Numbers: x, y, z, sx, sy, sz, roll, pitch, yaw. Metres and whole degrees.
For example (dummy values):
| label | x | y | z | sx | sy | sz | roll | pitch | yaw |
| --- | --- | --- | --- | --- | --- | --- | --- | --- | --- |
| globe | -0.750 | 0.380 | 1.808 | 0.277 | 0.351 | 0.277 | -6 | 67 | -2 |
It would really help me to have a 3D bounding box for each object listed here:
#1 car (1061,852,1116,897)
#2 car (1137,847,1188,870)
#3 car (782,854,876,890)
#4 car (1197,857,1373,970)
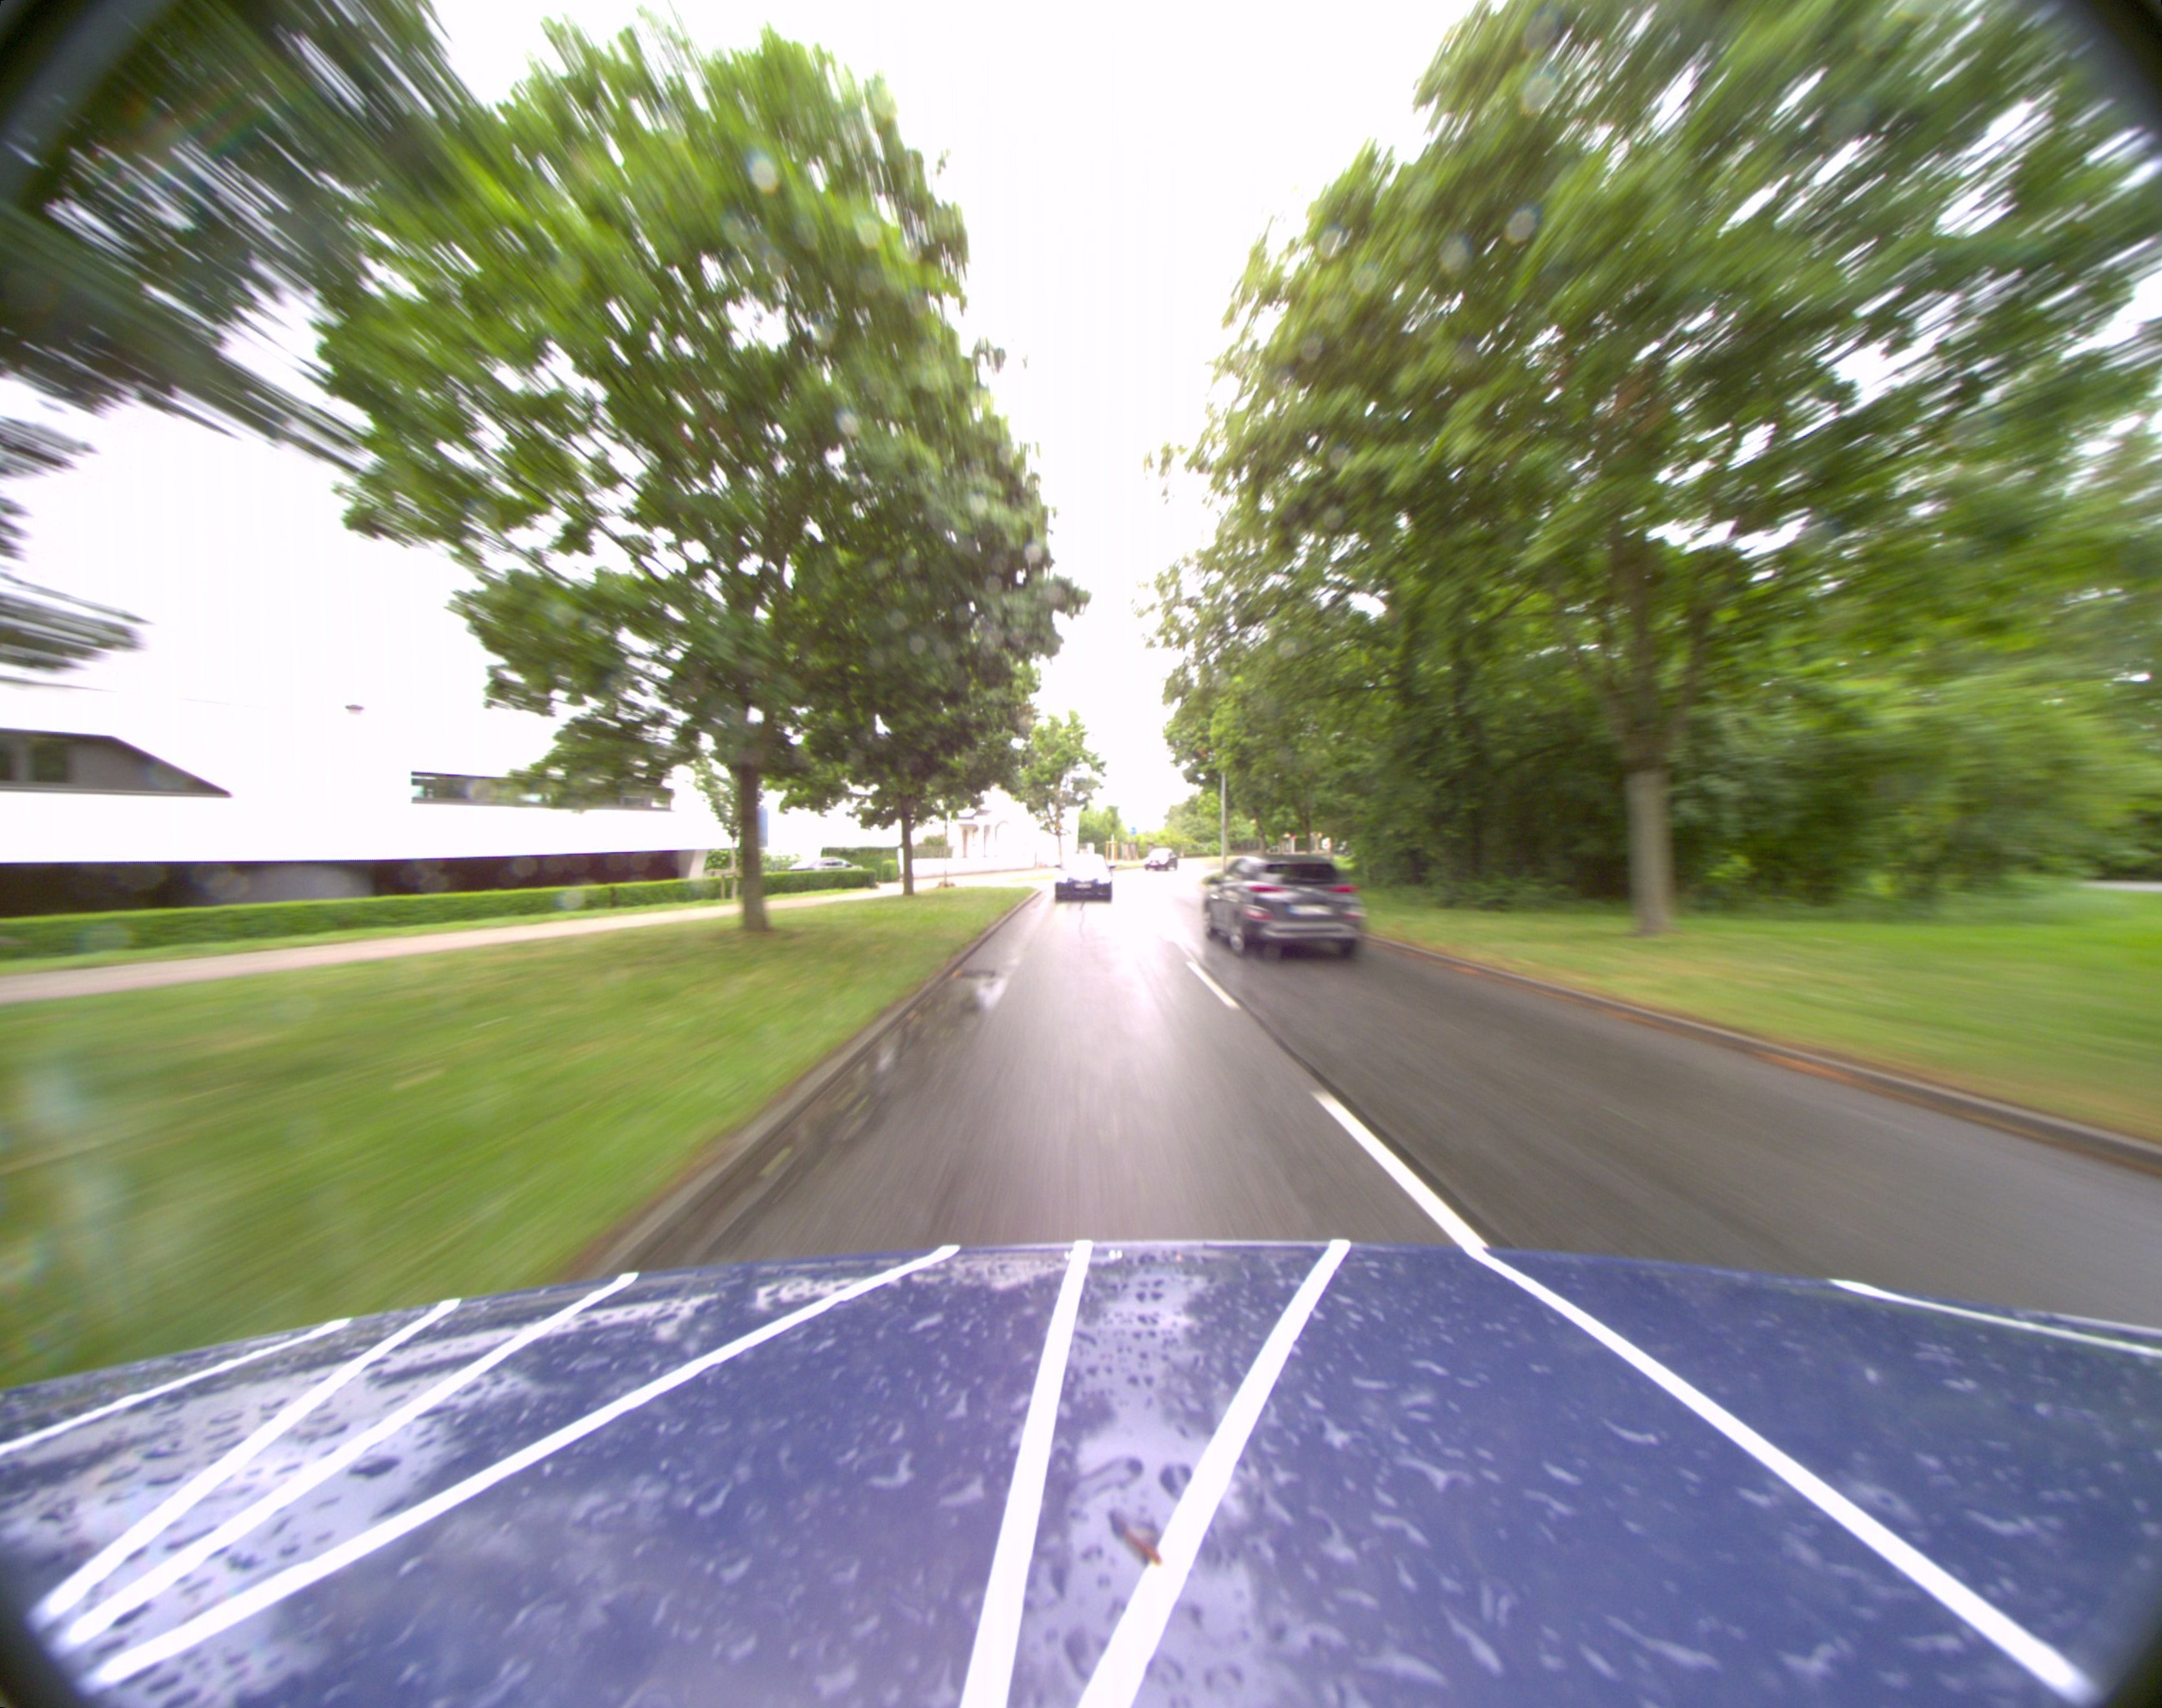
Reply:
| label | x | y | z | sx | sy | sz | roll | pitch | yaw |
| --- | --- | --- | --- | --- | --- | --- | --- | --- | --- |
| car | 0.318 | 0.658 | 27.108 | 1.815 | 1.459 | 3.975 | 0 | 1 | 2 |
| car | 5.902 | 0.304 | 54.676 | 1.925 | 1.374 | 4.315 | -2 | 1 | 32 |
| car | -12.718 | 0.879 | 38.697 | 1.922 | 1.541 | 4.466 | -2 | 1 | 25 |
| car | 3.135 | 0.833 | 12.552 | 1.794 | 1.528 | 4.092 | -1 | 0 | 0 |
